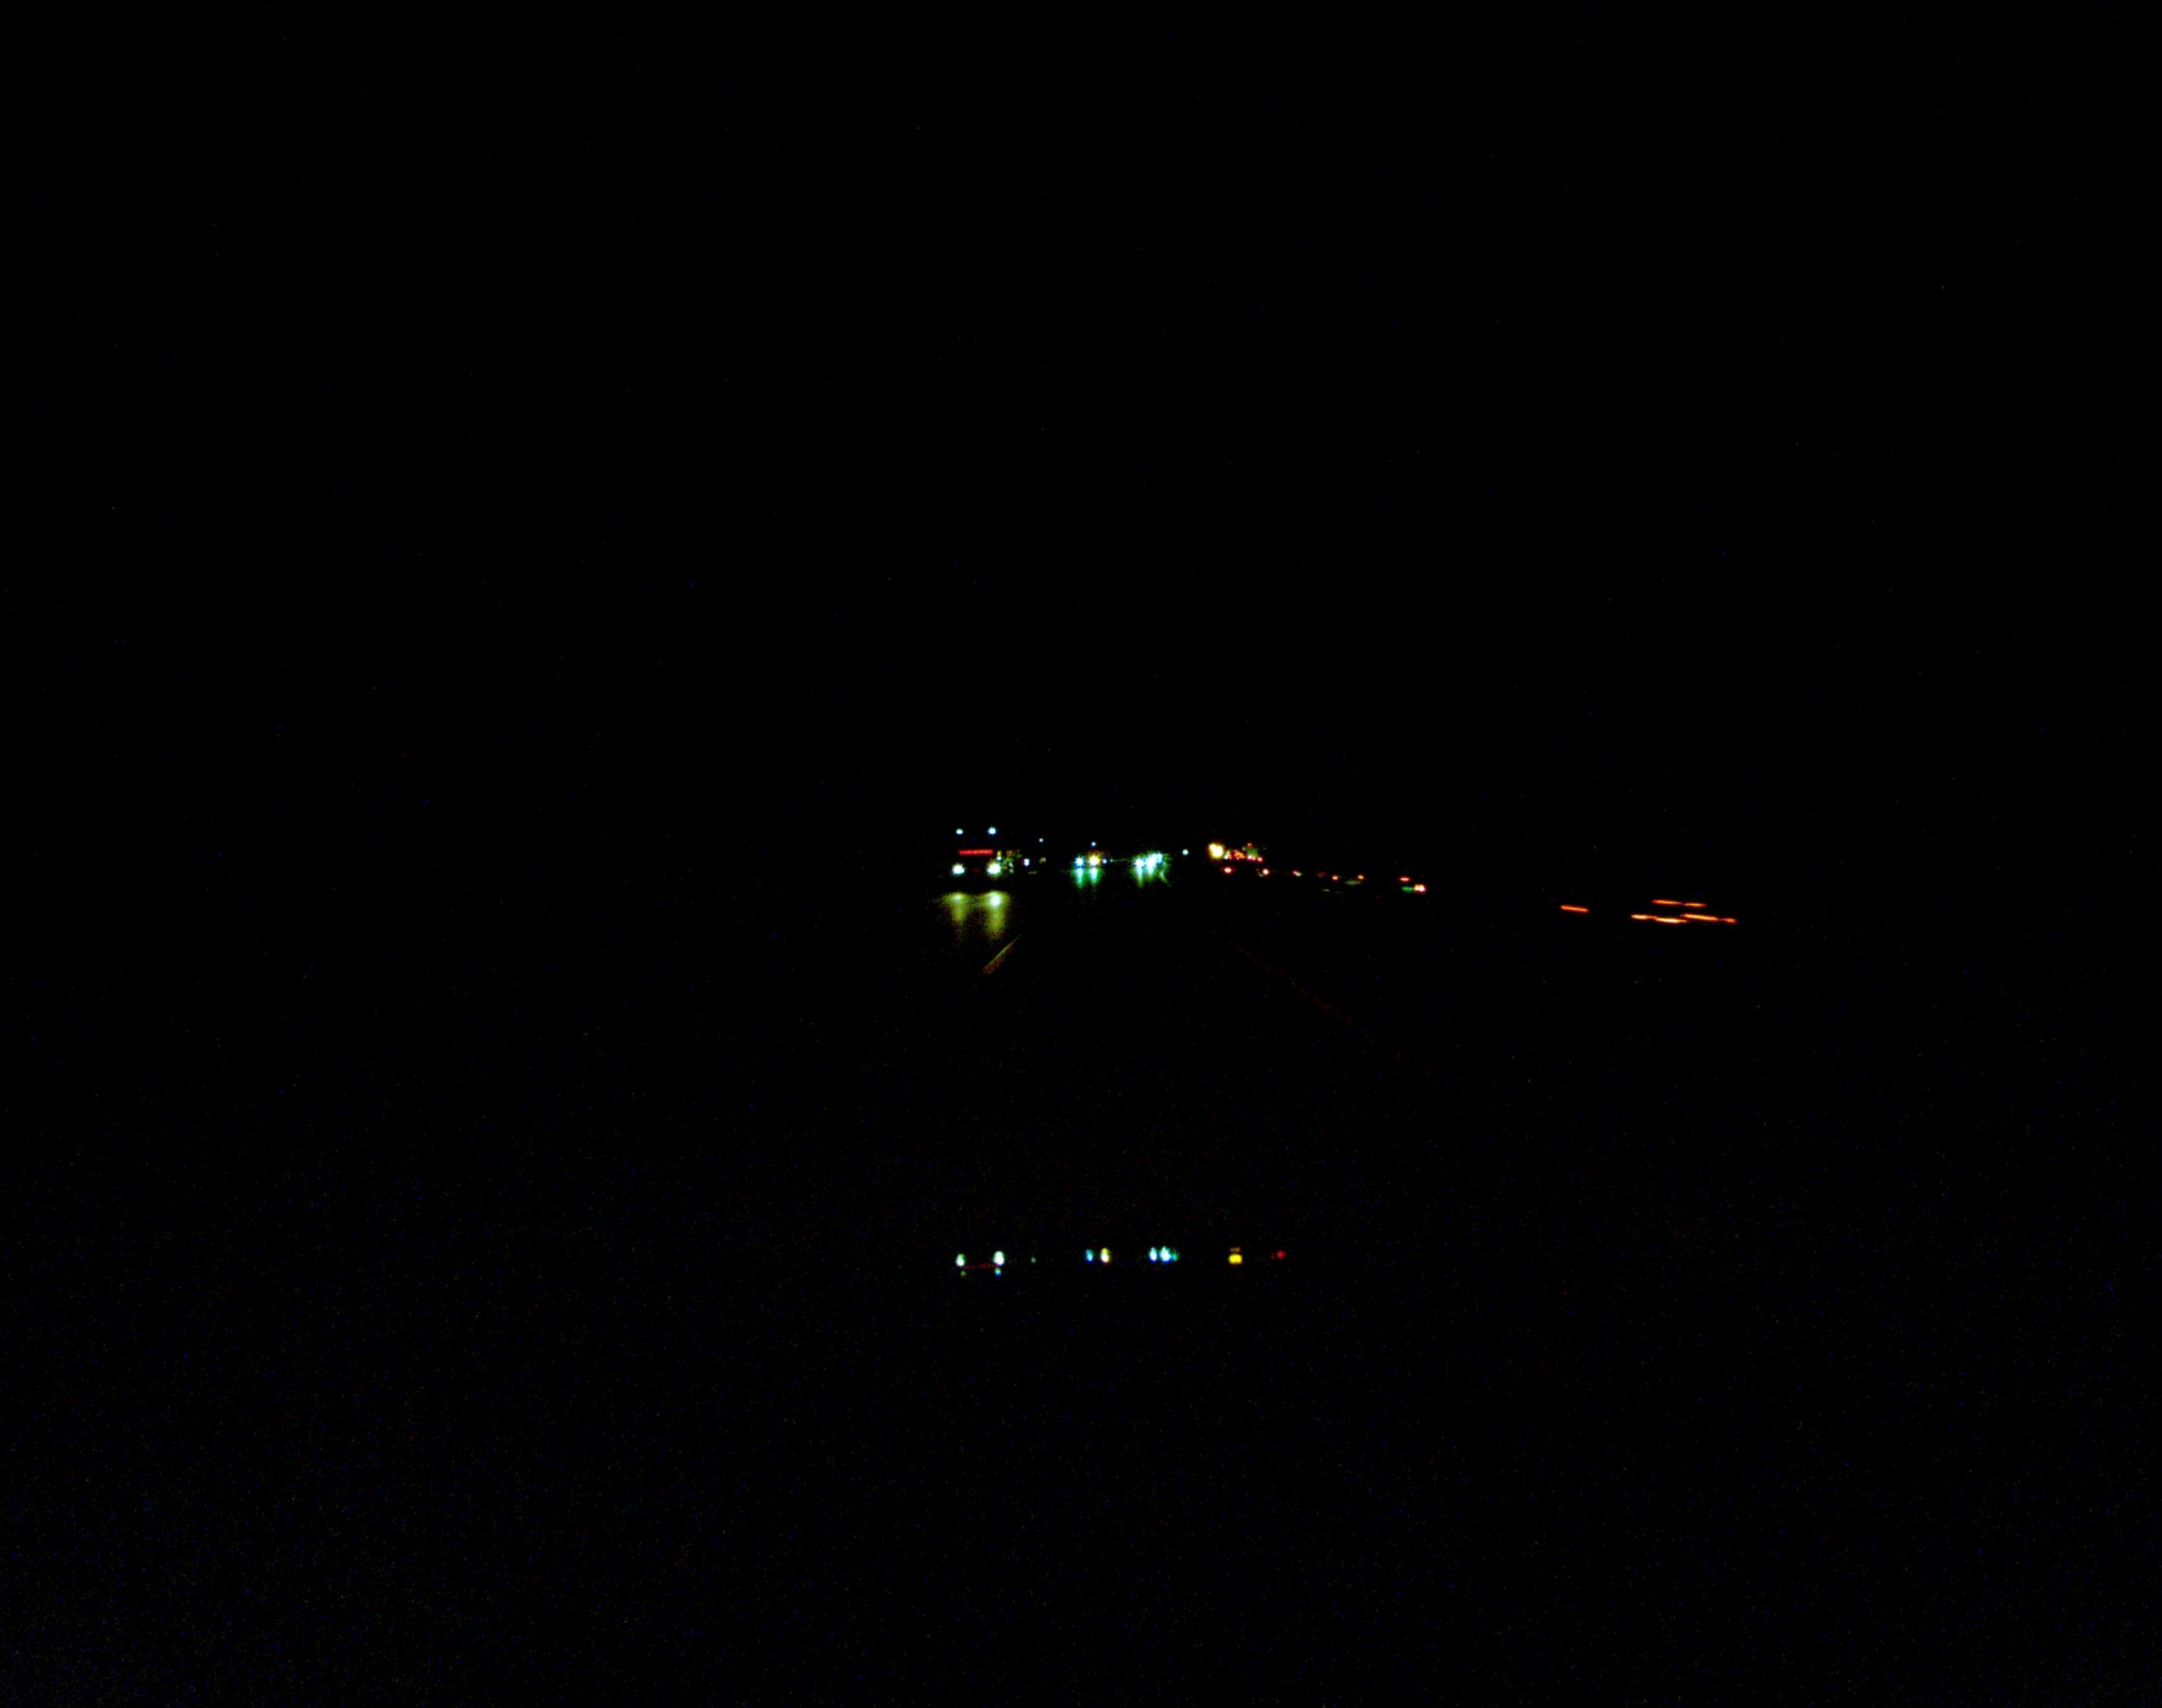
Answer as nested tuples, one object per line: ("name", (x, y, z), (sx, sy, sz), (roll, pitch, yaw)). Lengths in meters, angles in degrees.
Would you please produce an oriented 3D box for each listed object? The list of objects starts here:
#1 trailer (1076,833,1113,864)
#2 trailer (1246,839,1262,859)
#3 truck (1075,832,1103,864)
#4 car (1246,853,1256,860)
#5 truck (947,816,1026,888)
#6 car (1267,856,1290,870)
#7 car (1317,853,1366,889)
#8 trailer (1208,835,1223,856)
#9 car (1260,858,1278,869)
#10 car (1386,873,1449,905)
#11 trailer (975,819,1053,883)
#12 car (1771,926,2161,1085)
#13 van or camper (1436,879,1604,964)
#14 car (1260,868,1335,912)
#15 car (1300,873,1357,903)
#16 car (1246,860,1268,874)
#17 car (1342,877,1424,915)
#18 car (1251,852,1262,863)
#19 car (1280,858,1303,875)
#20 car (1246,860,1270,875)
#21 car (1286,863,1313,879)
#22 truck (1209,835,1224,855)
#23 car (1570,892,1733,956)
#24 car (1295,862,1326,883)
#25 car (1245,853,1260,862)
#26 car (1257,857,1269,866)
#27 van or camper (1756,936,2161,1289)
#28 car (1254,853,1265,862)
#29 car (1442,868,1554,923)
("trailer", (2.069, -0.838, 106.733), (2.838, 3.951, 15.774), (-2, 0, 10))
("trailer", (40.597, -1.286, 178.445), (3.153, 4.291, 14.822), (-4, 1, 13))
("truck", (1.073, -0.789, 101.045), (2.898, 3.949, 4.003), (-2, 0, 10))
("car", (37.113, 0.473, 165.802), (1.997, 1.482, 4.406), (-2, 0, 11))
("truck", (-5.437, -0.165, 45.332), (2.873, 3.818, 8.056), (-2, 1, 5))
("car", (24.833, 1.101, 95.512), (2.079, 1.625, 4.923), (-2, 0, 6))
("car", (19.265, 1.185, 56.529), (2.032, 2.427, 5.696), (-2, 0, 4))
("trailer", (26.660, -1.735, 150.522), (2.539, 3.692, 10.133), (-4, 1, 11))
("car", (27.108, 1.304, 109.755), (1.907, 1.445, 4.713), (-2, 0, 6))
("car", (18.509, 1.886, 41.945), (1.820, 1.548, 4.280), (-1, 0, 4))
("trailer", (-4.480, -0.139, 54.707), (2.880, 3.908, 12.894), (-3, -1, 7))
("car", (12.269, 1.928, 10.695), (1.604, 1.433, 4.001), (0, 0, 2))
("van or camper", (12.544, 1.840, 22.206), (1.998, 2.002, 5.221), (0, 0, 1))
("car", (9.512, 1.527, 33.770), (2.144, 1.696, 5.114), (0, 0, 3))
("car", (15.171, 2.060, 46.920), (2.144, 1.613, 5.114), (0, 0, 3))
("car", (20.403, 1.507, 88.074), (1.907, 1.445, 4.713), (-2, 0, 6))
("car", (14.229, 1.944, 36.186), (2.144, 1.481, 5.114), (0, 0, 3))
("car", (34.711, 0.655, 149.925), (1.892, 2.002, 4.004), (-2, 0, 16))
("car", (23.726, 1.390, 85.769), (1.756, 1.706, 4.002), (-2, 0, 6))
("car", (18.960, 1.421, 81.432), (1.827, 1.449, 4.001), (0, 1, 3))
("car", (21.722, 1.681, 75.702), (1.826, 1.449, 4.001), (0, 1, 5))
("truck", (27.942, -1.882, 156.898), (2.608, 3.722, 6.760), (-4, 1, 12))
("car", (16.389, 1.946, 22.109), (1.842, 1.433, 4.001), (-3, 0, 3))
("car", (20.307, 1.585, 67.347), (1.955, 1.706, 4.002), (-1, 0, 6))
("car", (32.571, 0.632, 144.239), (1.995, 1.482, 4.409), (-2, 0, 22))
("car", (32.942, 1.391, 137.305), (1.996, 1.539, 4.143), (-2, 0, 13))
("van or camper", (8.203, 1.882, 5.835), (2.035, 2.002, 4.576), (0, 0, 1))
("car", (30.310, 0.634, 128.960), (1.708, 1.368, 4.004), (-1, 1, 16))
("car", (17.364, 1.645, 31.980), (2.144, 2.042, 5.114), (0, 0, 4))
